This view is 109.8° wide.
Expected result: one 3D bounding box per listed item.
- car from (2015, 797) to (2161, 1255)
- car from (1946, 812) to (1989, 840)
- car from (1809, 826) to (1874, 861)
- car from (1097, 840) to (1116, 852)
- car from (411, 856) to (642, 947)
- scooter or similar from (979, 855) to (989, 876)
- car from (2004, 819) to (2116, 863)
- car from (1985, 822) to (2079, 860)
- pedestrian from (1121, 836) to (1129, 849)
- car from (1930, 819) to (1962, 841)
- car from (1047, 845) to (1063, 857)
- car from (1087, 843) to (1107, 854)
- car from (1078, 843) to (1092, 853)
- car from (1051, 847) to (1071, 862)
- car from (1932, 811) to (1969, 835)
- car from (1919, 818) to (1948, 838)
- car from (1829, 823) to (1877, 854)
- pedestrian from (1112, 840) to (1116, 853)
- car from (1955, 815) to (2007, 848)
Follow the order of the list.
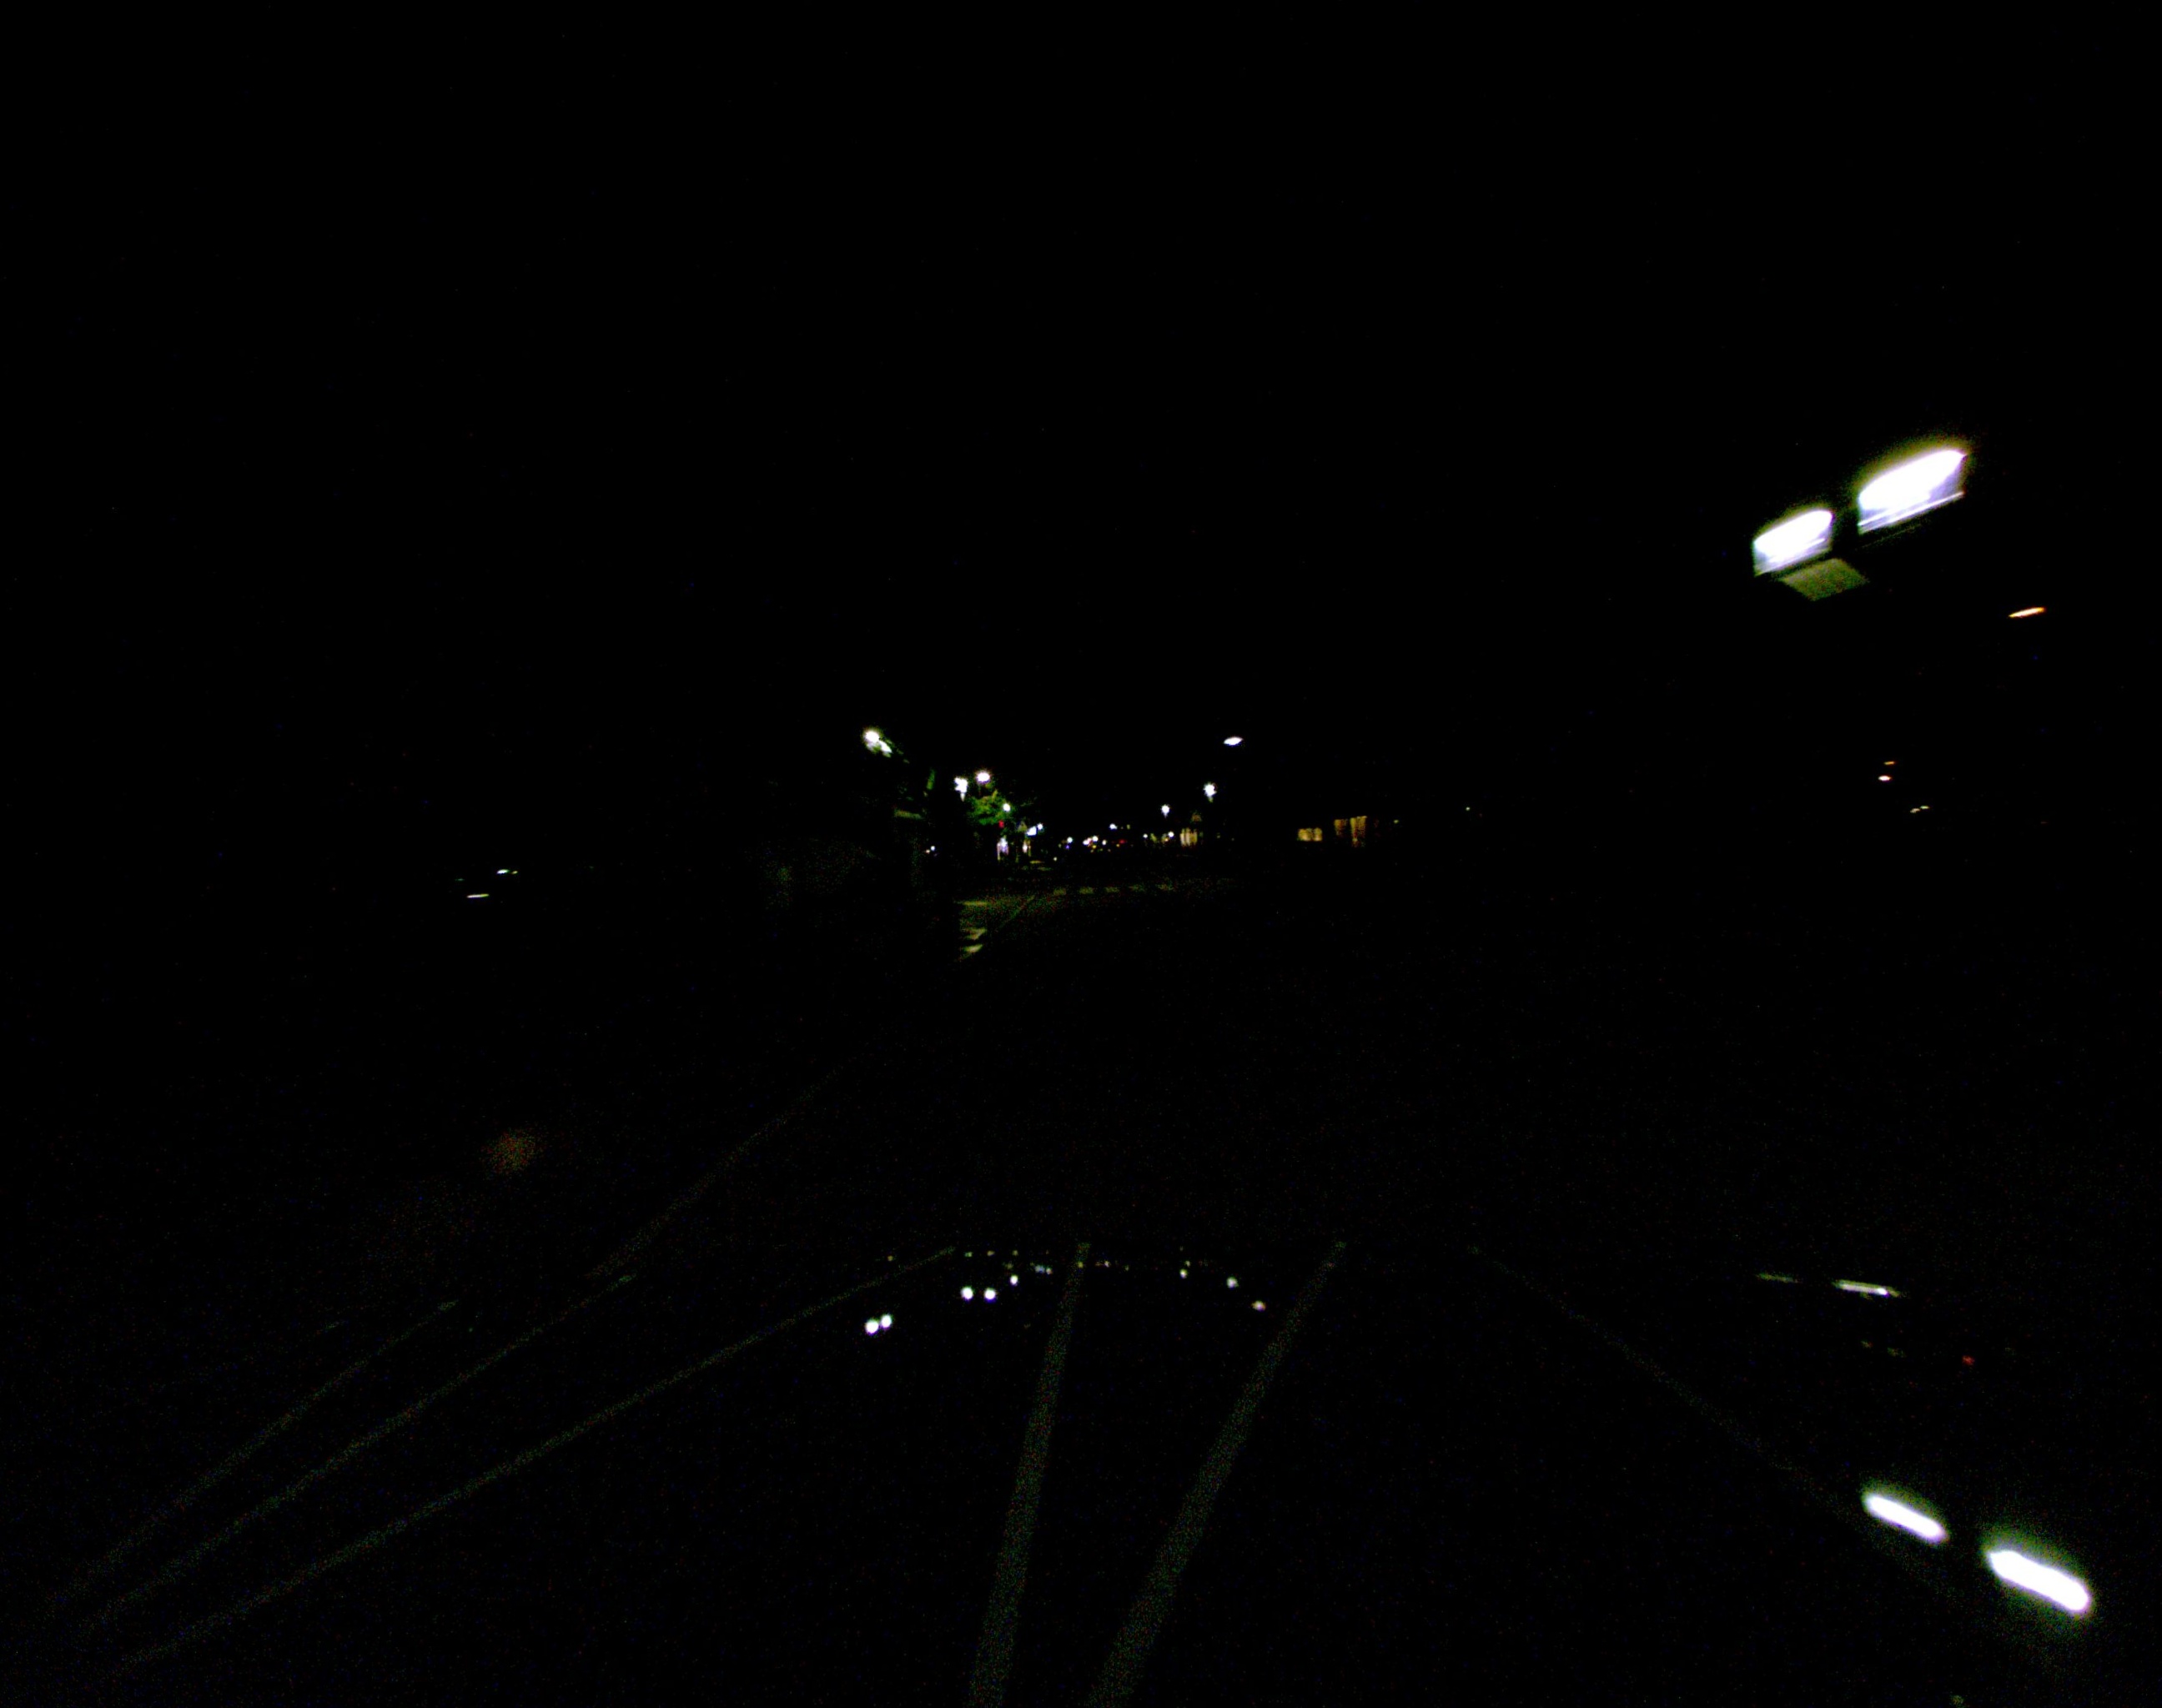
[{"bbox_3d":[4.877,0.598,0.653,2.022,1.681,5.003,-4,1,2],"label":"car"},{"bbox_3d":[54.216,-1.709,46.521,3.425,1.560,1.571,-4,3,-43],"label":"car"},{"bbox_3d":[31.509,-0.430,31.516,1.816,1.368,4.008,0,0,45],"label":"car"},{"bbox_3d":[3.665,-1.128,111.623,1.764,1.628,4.810,-3,1,-10],"label":"car"},{"bbox_3d":[-11.156,0.861,15.702,1.809,1.452,4.055,2,2,0],"label":"car"},{"bbox_3d":[-6.236,0.733,49.106,0.374,1.269,1.305,-2,2,2],"label":"scooter or similar"},{"bbox_3d":[32.713,-0.422,25.502,1.816,1.368,4.008,0,0,45],"label":"car"},{"bbox_3d":[36.602,-0.480,29.330,1.816,1.368,4.008,0,0,45],"label":"car"},{"bbox_3d":[6.621,-1.749,113.979,0.793,1.807,1.024,-4,2,14],"label":"pedestrian"},{"bbox_3d":[66.930,-1.859,58.814,3.425,1.560,1.571,-4,3,-43],"label":"car"},{"bbox_3d":[-3.673,-0.470,107.737,1.747,1.479,4.632,-2,2,-7],"label":"car"},{"bbox_3d":[2.476,-0.836,117.376,1.911,1.533,4.776,-4,1,-12],"label":"car"},{"bbox_3d":[0.658,-1.034,128.340,1.776,1.565,4.478,-4,2,-8],"label":"car"},{"bbox_3d":[-2.088,0.075,77.810,1.739,1.432,4.494,-2,1,-4],"label":"car"},{"bbox_3d":[60.088,-2.137,52.516,3.425,1.560,1.571,-4,3,-43],"label":"car"},{"bbox_3d":[71.216,-2.181,63.497,3.425,1.560,1.571,-4,3,-43],"label":"car"},{"bbox_3d":[43.656,-0.880,43.009,1.816,1.628,4.008,0,2,45],"label":"car"},{"bbox_3d":[4.950,-1.138,114.019,0.502,1.812,0.503,-2,2,-1],"label":"pedestrian"},{"bbox_3d":[46.765,-1.187,39.524,3.425,1.560,1.571,-4,3,-43],"label":"car"}]
